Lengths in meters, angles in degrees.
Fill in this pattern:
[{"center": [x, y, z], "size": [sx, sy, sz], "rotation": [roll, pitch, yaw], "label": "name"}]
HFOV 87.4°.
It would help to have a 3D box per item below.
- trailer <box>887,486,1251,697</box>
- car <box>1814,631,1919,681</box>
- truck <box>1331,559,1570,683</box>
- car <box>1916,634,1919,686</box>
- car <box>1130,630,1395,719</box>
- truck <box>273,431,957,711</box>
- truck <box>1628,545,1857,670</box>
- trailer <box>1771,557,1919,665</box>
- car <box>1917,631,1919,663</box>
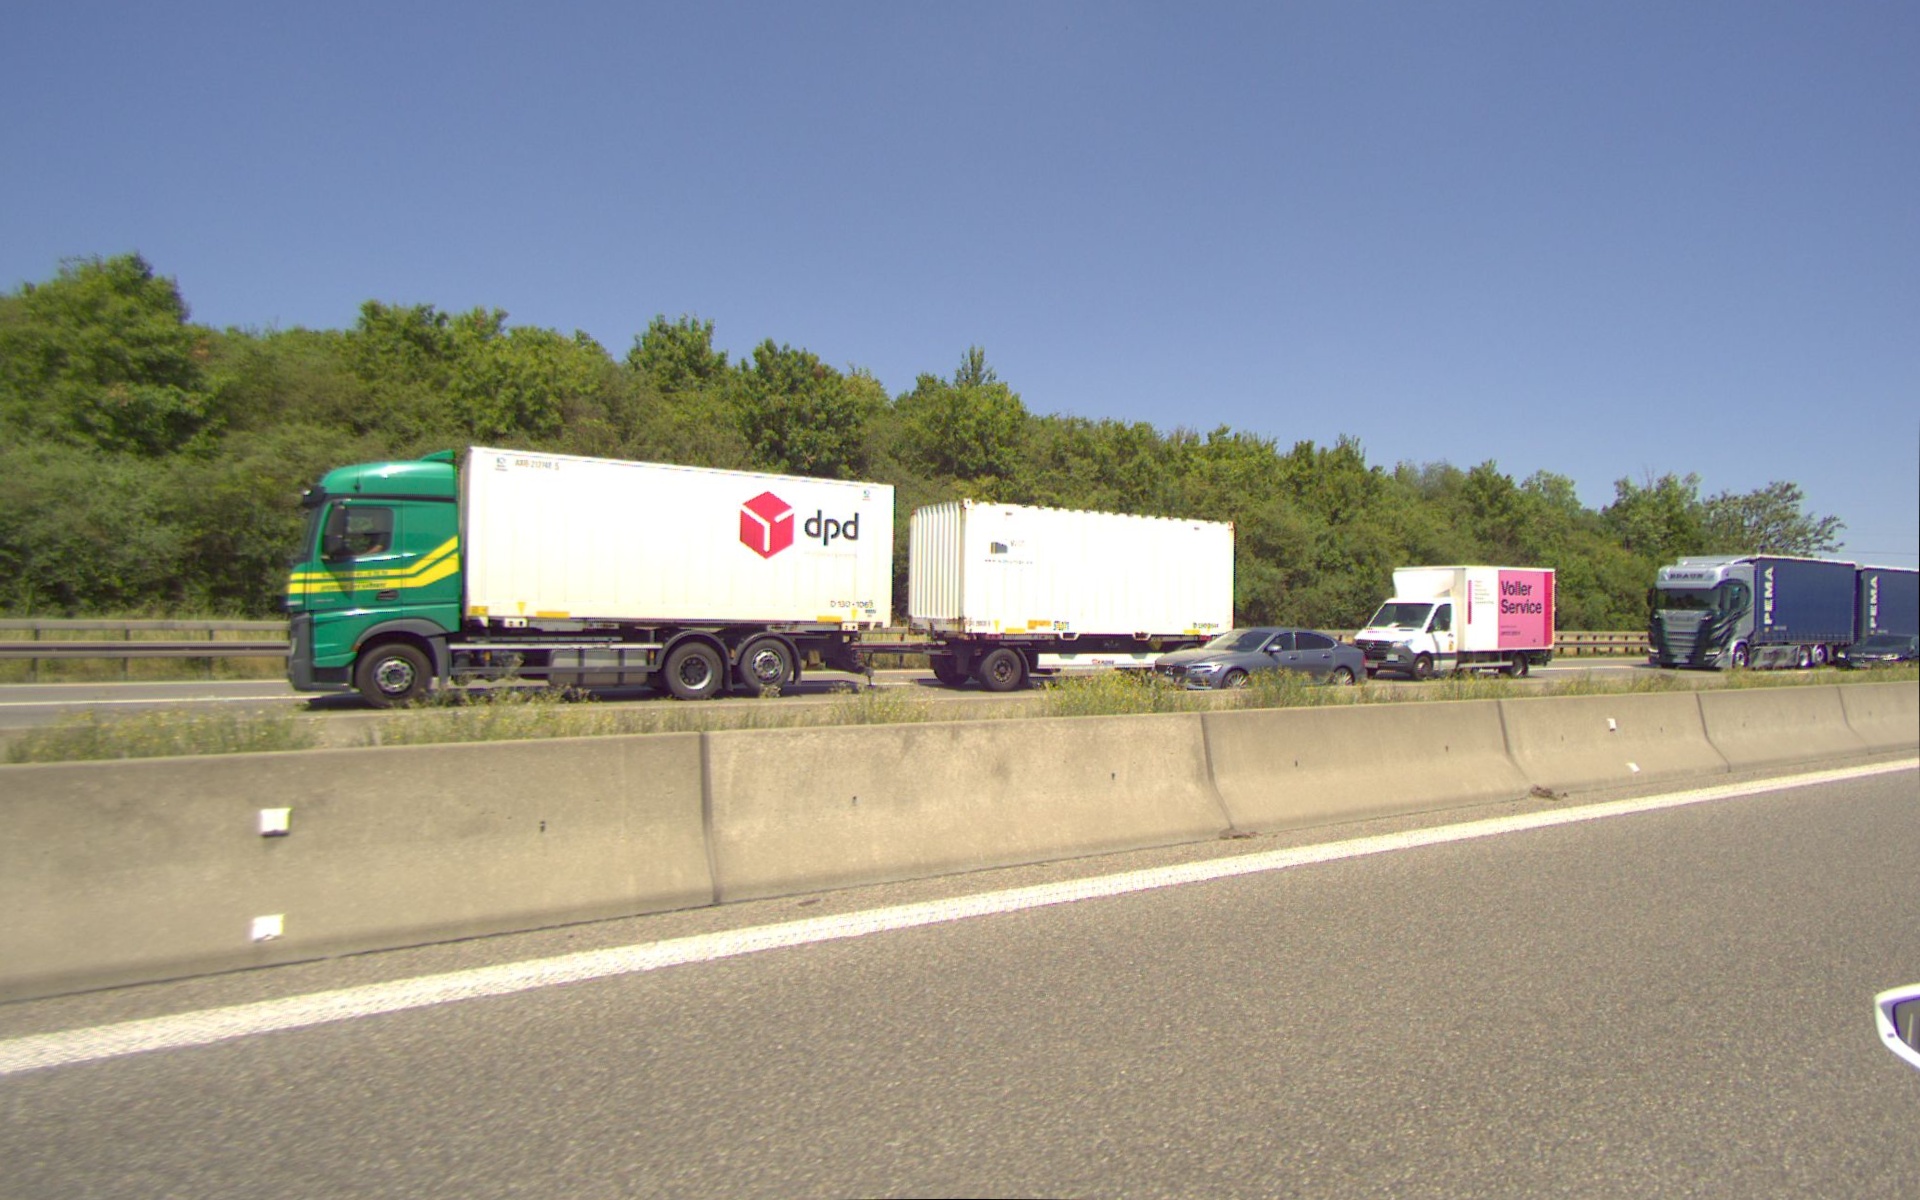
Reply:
[{"center": [2.619, -0.053, 22.949], "size": [8.130, 4.125, 2.907], "rotation": [1, -2, -29], "label": "trailer"}, {"center": [31.745, 1.889, 34.668], "size": [4.715, 1.547, 1.984], "rotation": [1, 0, -30], "label": "car"}, {"center": [14.398, 0.625, 29.276], "size": [7.499, 3.250, 2.526], "rotation": [1, -1, -30], "label": "truck"}, {"center": [31.317, 1.855, 30.535], "size": [4.715, 1.547, 1.984], "rotation": [1, 0, -30], "label": "car"}, {"center": [6.147, 1.421, 20.191], "size": [5.431, 1.565, 1.984], "rotation": [2, -1, -31], "label": "car"}, {"center": [-5.557, -0.271, 18.223], "size": [11.114, 3.950, 2.830], "rotation": [1, -2, -30], "label": "truck"}, {"center": [29.964, 0.353, 38.282], "size": [10.602, 4.290, 2.988], "rotation": [1, -1, -29], "label": "truck"}, {"center": [38.483, 0.523, 42.915], "size": [8.488, 4.248, 2.974], "rotation": [1, -1, -29], "label": "trailer"}, {"center": [47.284, 2.242, 47.542], "size": [4.592, 1.450, 1.649], "rotation": [1, -1, -29], "label": "car"}]
